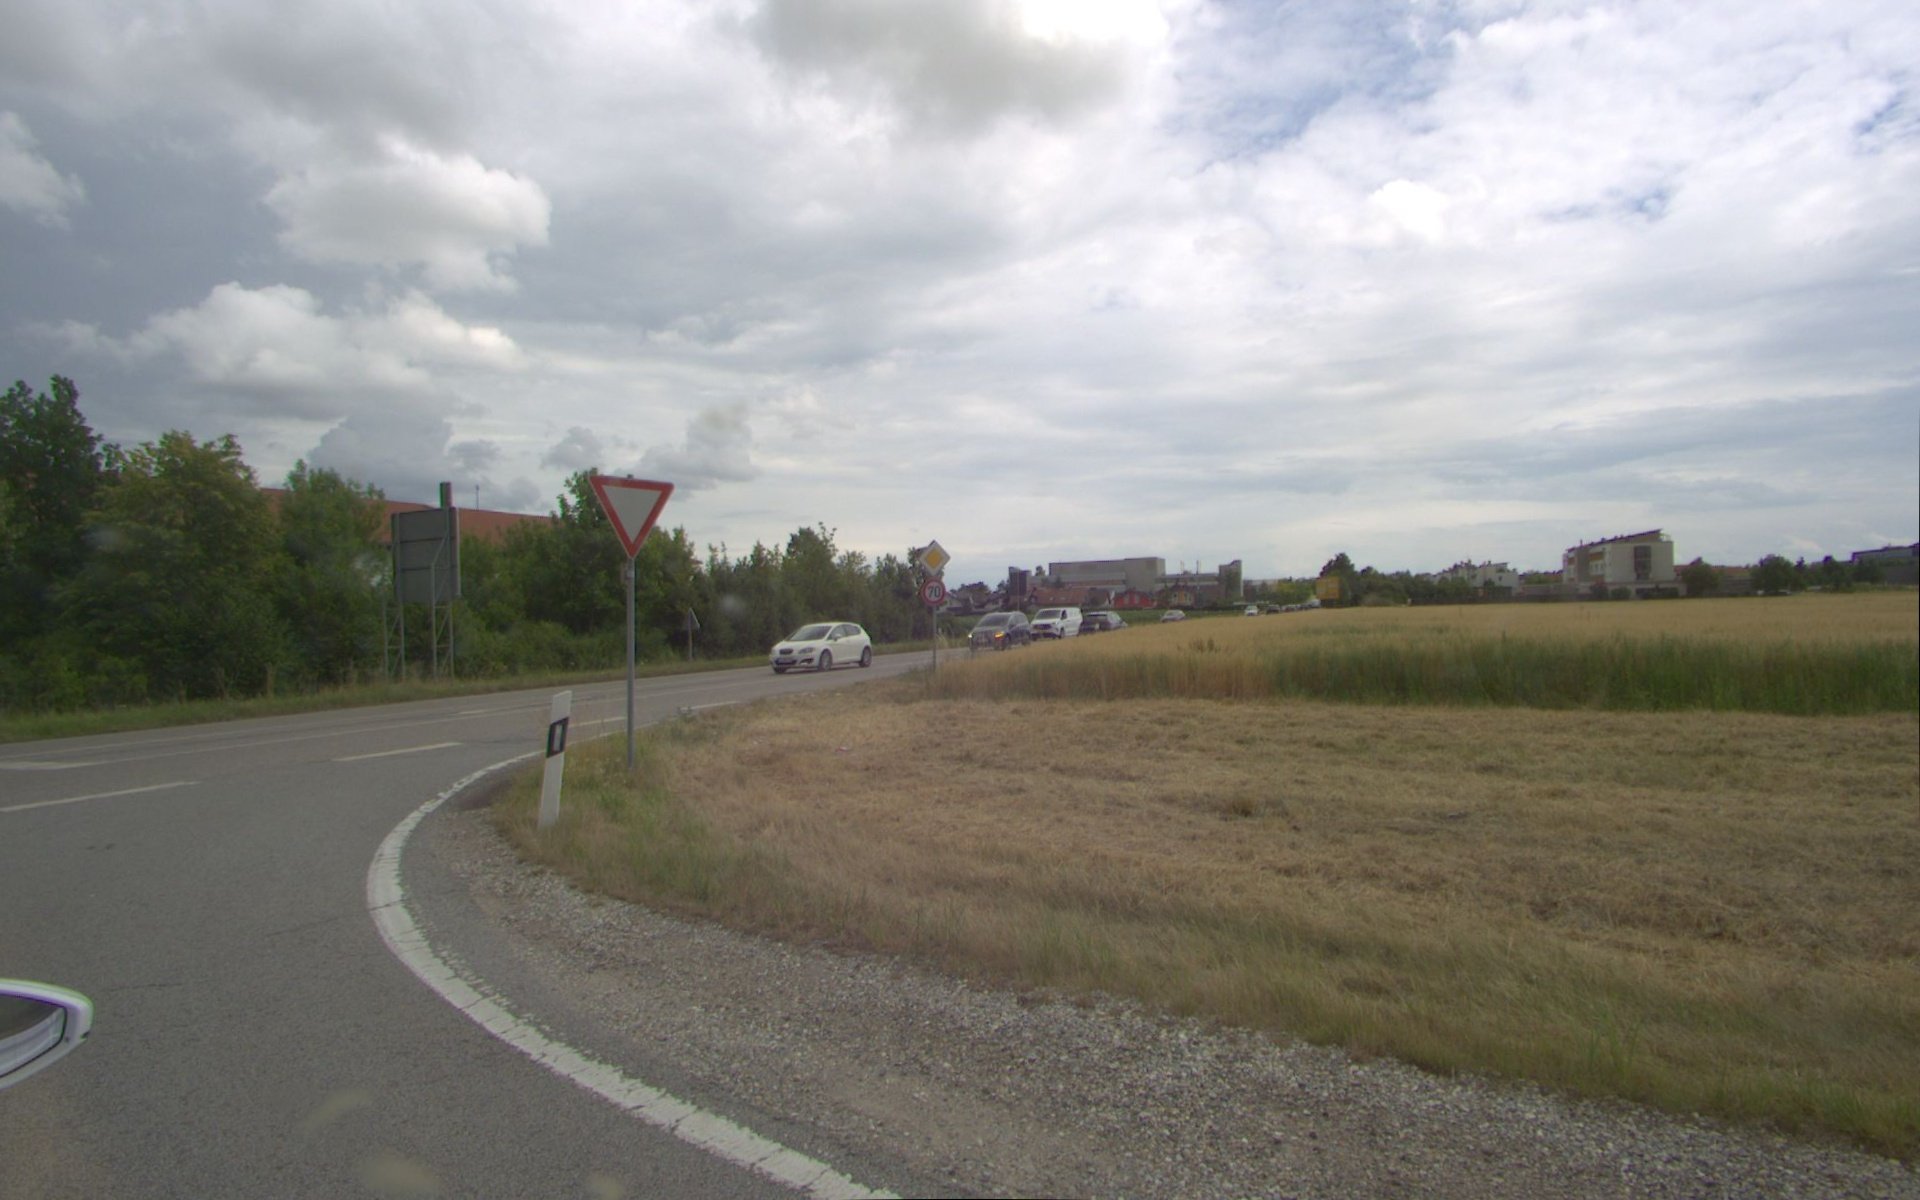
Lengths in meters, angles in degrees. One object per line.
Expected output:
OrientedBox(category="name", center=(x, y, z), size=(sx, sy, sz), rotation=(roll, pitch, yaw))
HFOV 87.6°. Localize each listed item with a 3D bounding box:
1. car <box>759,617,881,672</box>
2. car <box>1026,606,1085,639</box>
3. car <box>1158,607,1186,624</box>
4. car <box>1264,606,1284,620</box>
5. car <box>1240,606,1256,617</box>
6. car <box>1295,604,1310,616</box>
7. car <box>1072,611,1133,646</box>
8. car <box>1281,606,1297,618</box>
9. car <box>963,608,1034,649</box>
OrientedBox(category="car", center=(-4.241, 1.334, 30.989), size=(1.790, 1.426, 4.301), rotation=(-3, 0, 22))
OrientedBox(category="car", center=(6.005, 1.366, 62.436), size=(2.078, 1.910, 5.375), rotation=(-2, -1, 23))
OrientedBox(category="car", center=(19.627, 1.402, 92.473), size=(1.651, 1.420, 4.076), rotation=(-3, -1, 24))
OrientedBox(category="car", center=(40.420, 1.628, 128.722), size=(1.834, 1.750, 3.986), rotation=(-2, 0, 26))
OrientedBox(category="car", center=(41.139, 1.568, 142.815), size=(1.707, 1.450, 3.924), rotation=(-3, -1, 23))
OrientedBox(category="car", center=(60.792, 1.752, 177.711), size=(2.086, 2.040, 4.725), rotation=(-1, 0, 24))
OrientedBox(category="car", center=(7.048, 1.383, 49.222), size=(1.834, 1.586, 3.986), rotation=(-2, 0, 26))
OrientedBox(category="car", center=(50.564, 1.838, 153.754), size=(1.834, 1.750, 3.986), rotation=(-2, 0, 26))
OrientedBox(category="car", center=(1.788, 1.262, 45.163), size=(1.725, 1.679, 4.278), rotation=(-3, -1, 23))
